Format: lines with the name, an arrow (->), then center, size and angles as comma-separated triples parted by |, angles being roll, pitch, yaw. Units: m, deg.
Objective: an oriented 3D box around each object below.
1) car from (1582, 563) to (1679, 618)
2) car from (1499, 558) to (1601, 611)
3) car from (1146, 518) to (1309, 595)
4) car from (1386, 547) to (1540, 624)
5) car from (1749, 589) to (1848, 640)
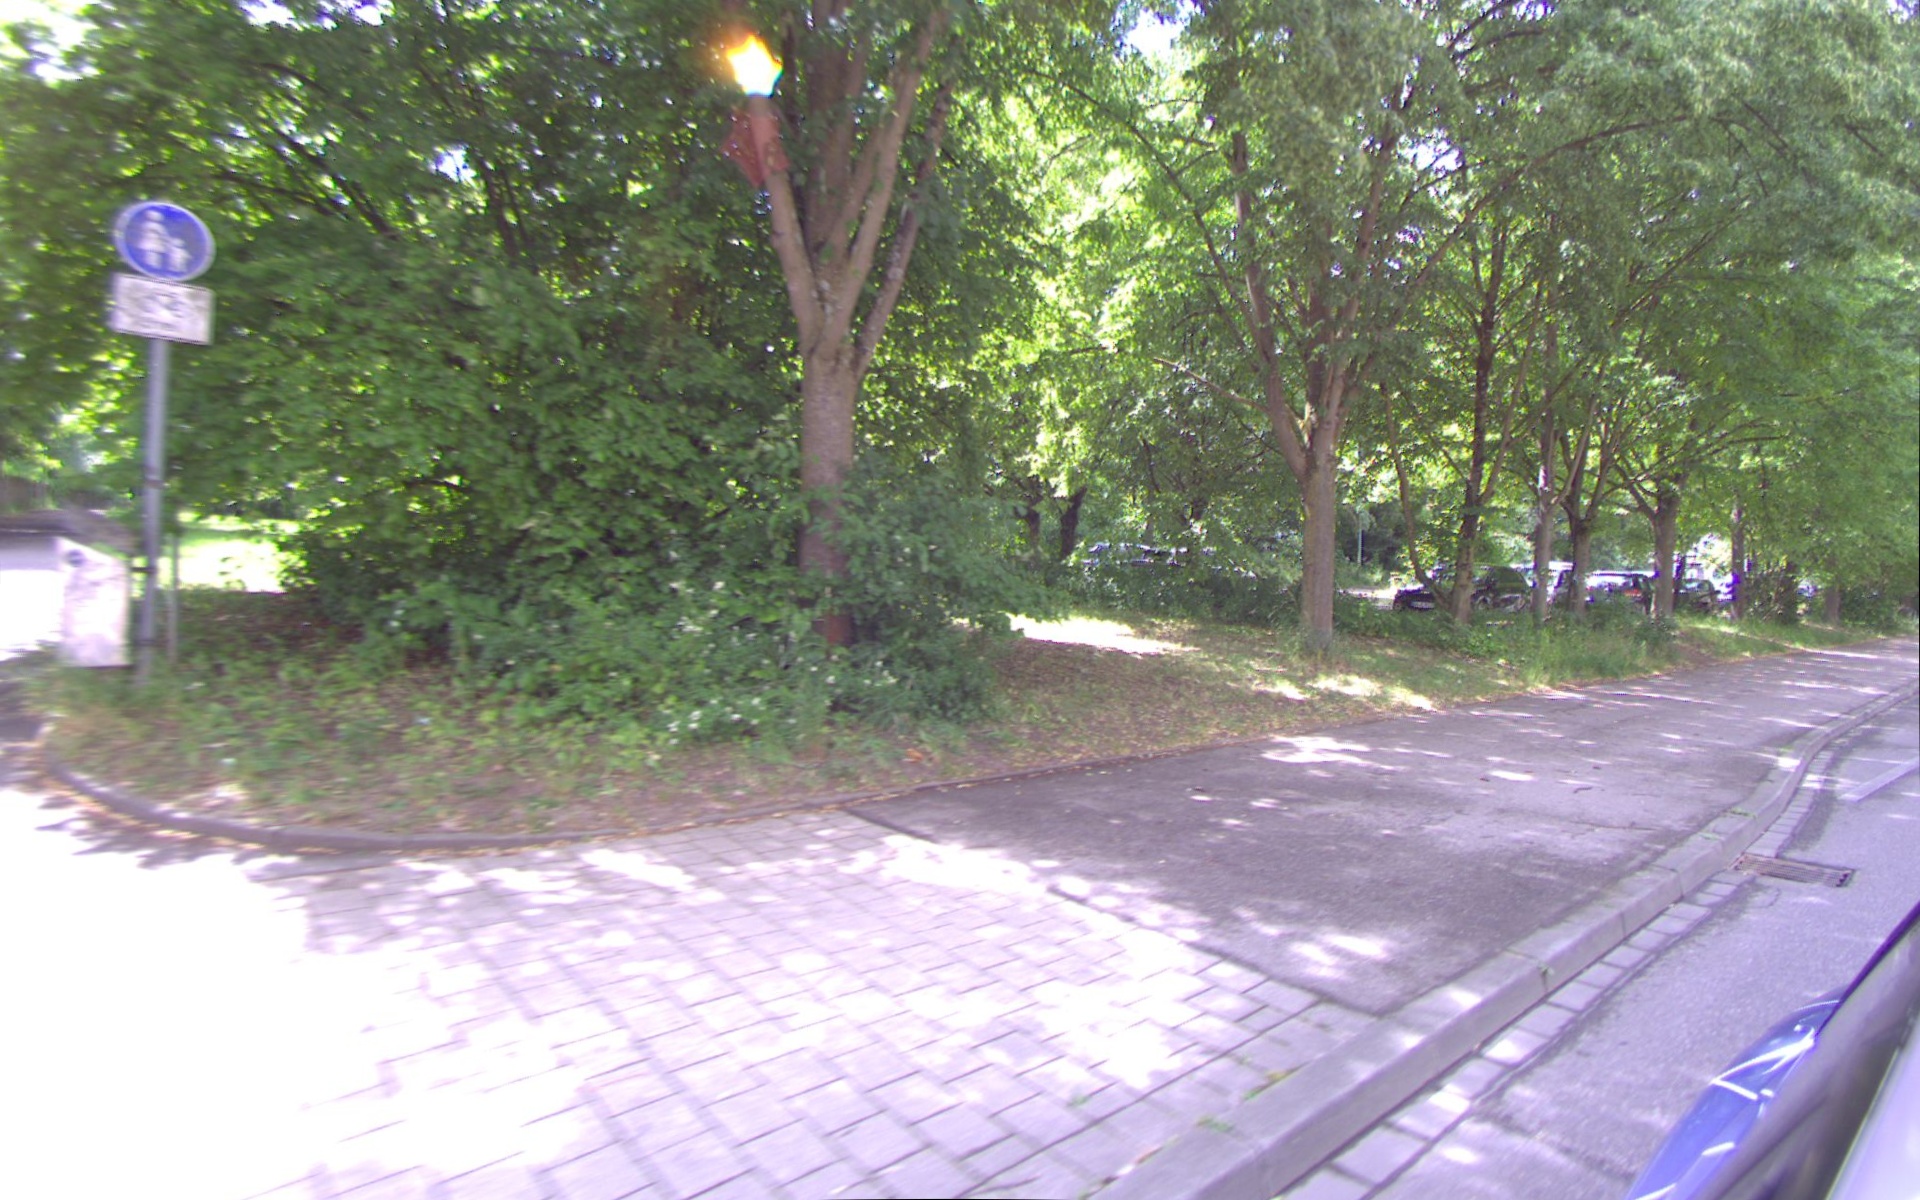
car -> 20.419, -0.285, 30.762 | 1.752, 1.561, 4.159 | 1, 1, 44
car -> 19.030, -0.499, 32.617 | 3.611, 1.560, 1.656 | 0, 4, -40
car -> 5.959, -0.906, 22.387 | 3.559, 1.561, 1.657 | 0, 1, -37
car -> 11.160, -0.315, 22.385 | 3.611, 1.561, 1.755 | 0, 1, -40
car -> 27.263, 0.428, 32.890 | 3.608, 1.561, 1.657 | 0, 1, -37
